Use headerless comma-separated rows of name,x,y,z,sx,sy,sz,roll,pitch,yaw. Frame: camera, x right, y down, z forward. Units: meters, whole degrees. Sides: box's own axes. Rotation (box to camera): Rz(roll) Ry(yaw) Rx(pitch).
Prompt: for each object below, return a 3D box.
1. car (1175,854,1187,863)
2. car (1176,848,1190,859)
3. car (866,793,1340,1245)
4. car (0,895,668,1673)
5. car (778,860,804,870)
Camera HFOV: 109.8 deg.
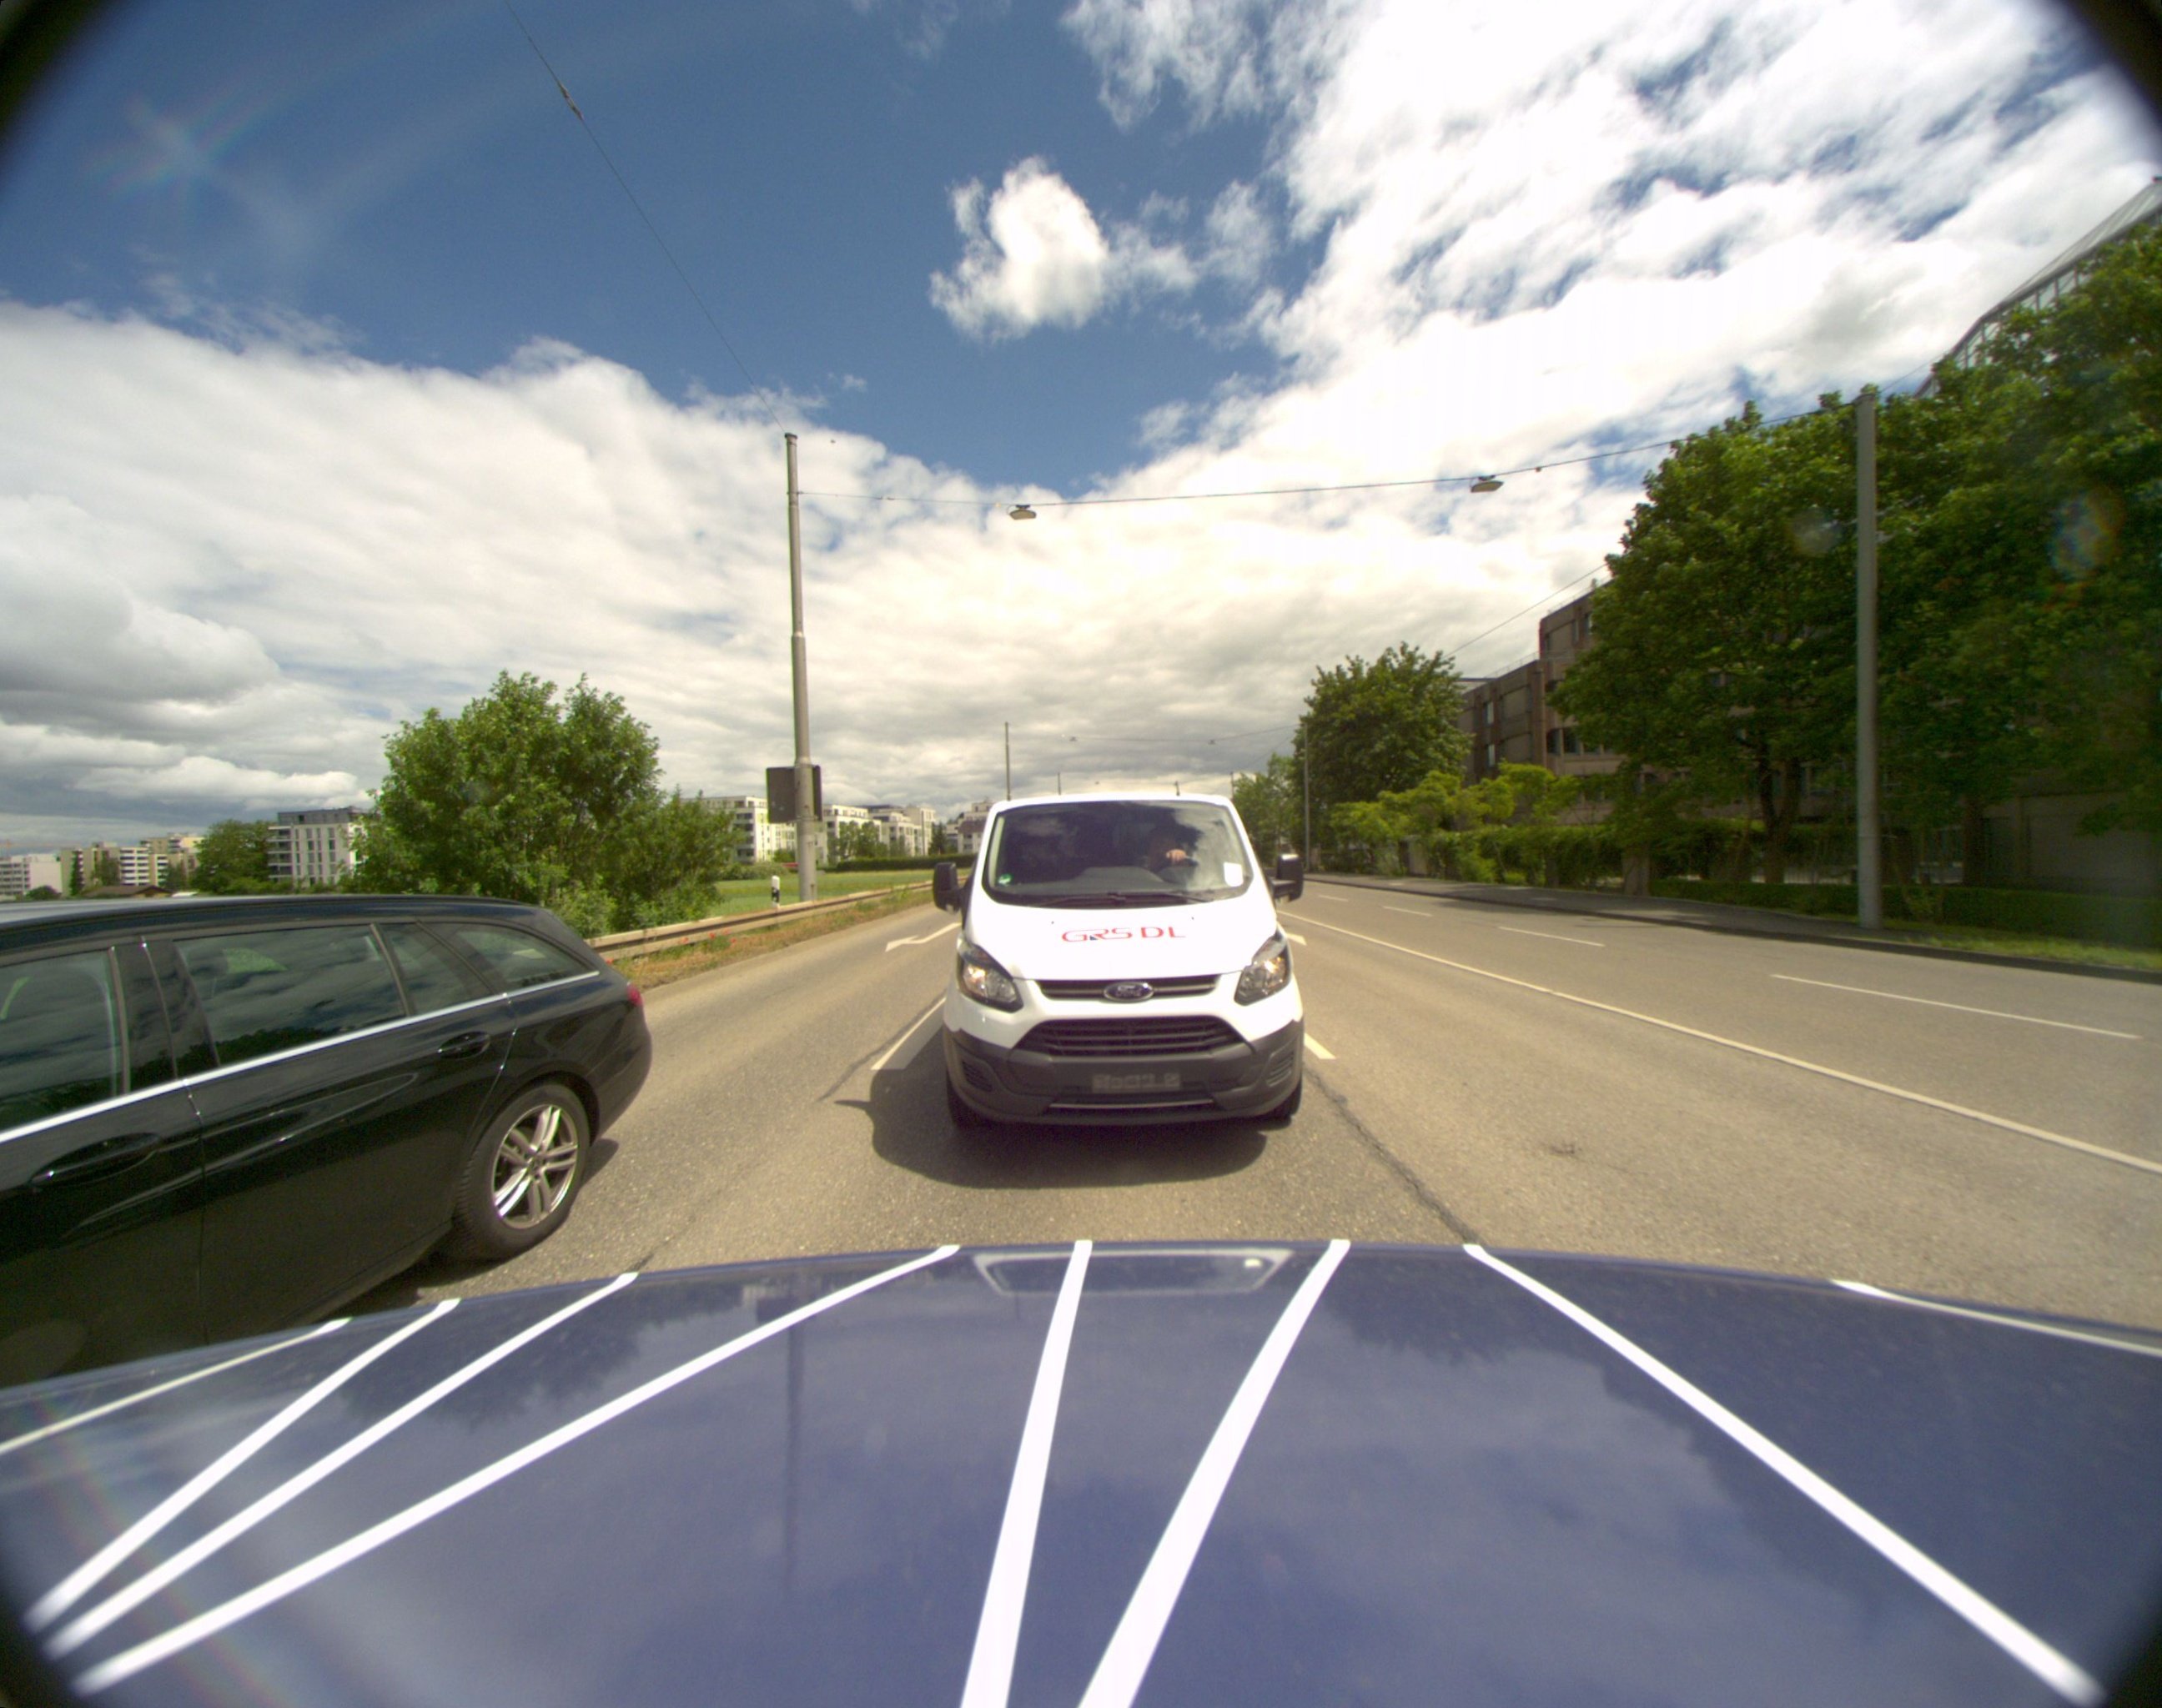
car,19.446,0.794,147.281,1.801,1.576,4.313,-2,1,1
car,16.175,-0.122,120.485,1.872,1.605,4.571,-1,1,3
car,0.292,0.752,6.204,1.998,1.906,5.884,-1,-1,4
car,-3.154,0.940,1.627,1.842,1.528,4.807,-1,-1,1
car,-59.398,2.264,155.675,4.436,2.002,2.000,-1,1,2
